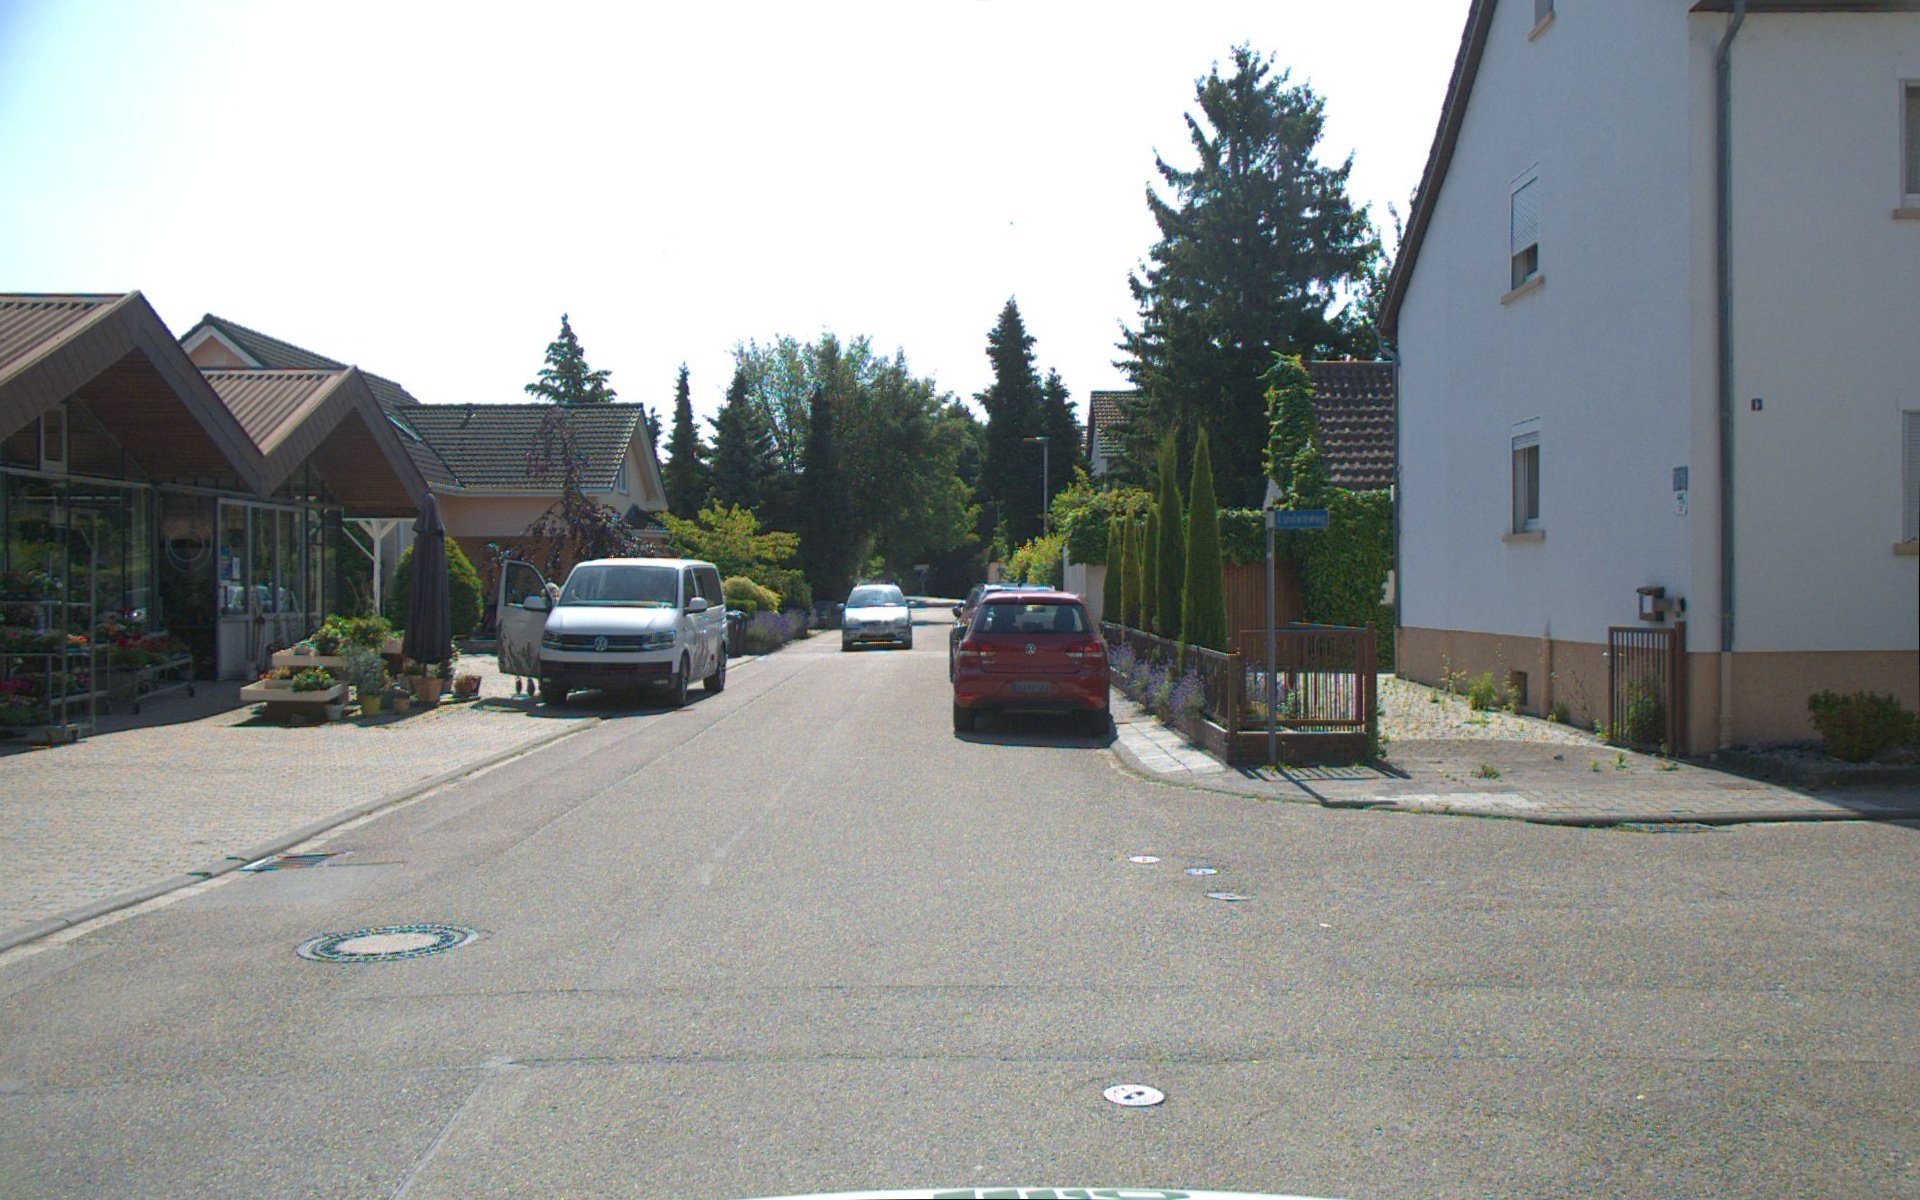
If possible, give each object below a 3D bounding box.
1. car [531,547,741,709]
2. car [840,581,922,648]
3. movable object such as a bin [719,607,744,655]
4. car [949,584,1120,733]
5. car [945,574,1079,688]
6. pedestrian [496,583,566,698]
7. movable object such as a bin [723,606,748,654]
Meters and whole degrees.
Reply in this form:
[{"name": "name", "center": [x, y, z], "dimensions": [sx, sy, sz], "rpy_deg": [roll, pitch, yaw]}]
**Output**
[{"name": "car", "center": [-4.438, 0.337, 23.456], "dimensions": [1.889, 2.049, 4.897], "rpy_deg": [0, 0, 1]}, {"name": "car", "center": [-1.869, 0.307, 40.327], "dimensions": [1.716, 1.513, 4.376], "rpy_deg": [-1, 0, 1]}, {"name": "movable object such as a bin", "center": [-5.051, 0.686, 36.576], "dimensions": [0.484, 1.042, 0.447], "rpy_deg": [-1, 0, 0]}, {"name": "car", "center": [0.883, 0.597, 19.158], "dimensions": [1.738, 1.505, 4.002], "rpy_deg": [1, 0, 3]}, {"name": "car", "center": [0.742, 0.432, 25.946], "dimensions": [1.786, 1.643, 3.998], "rpy_deg": [0, 0, -3]}, {"name": "pedestrian", "center": [-5.956, 0.545, 22.977], "dimensions": [0.704, 1.565, 0.640], "rpy_deg": [1, 1, 33]}, {"name": "movable object such as a bin", "center": [-5.021, 0.673, 37.065], "dimensions": [0.484, 1.042, 0.447], "rpy_deg": [-1, 0, 0]}]
